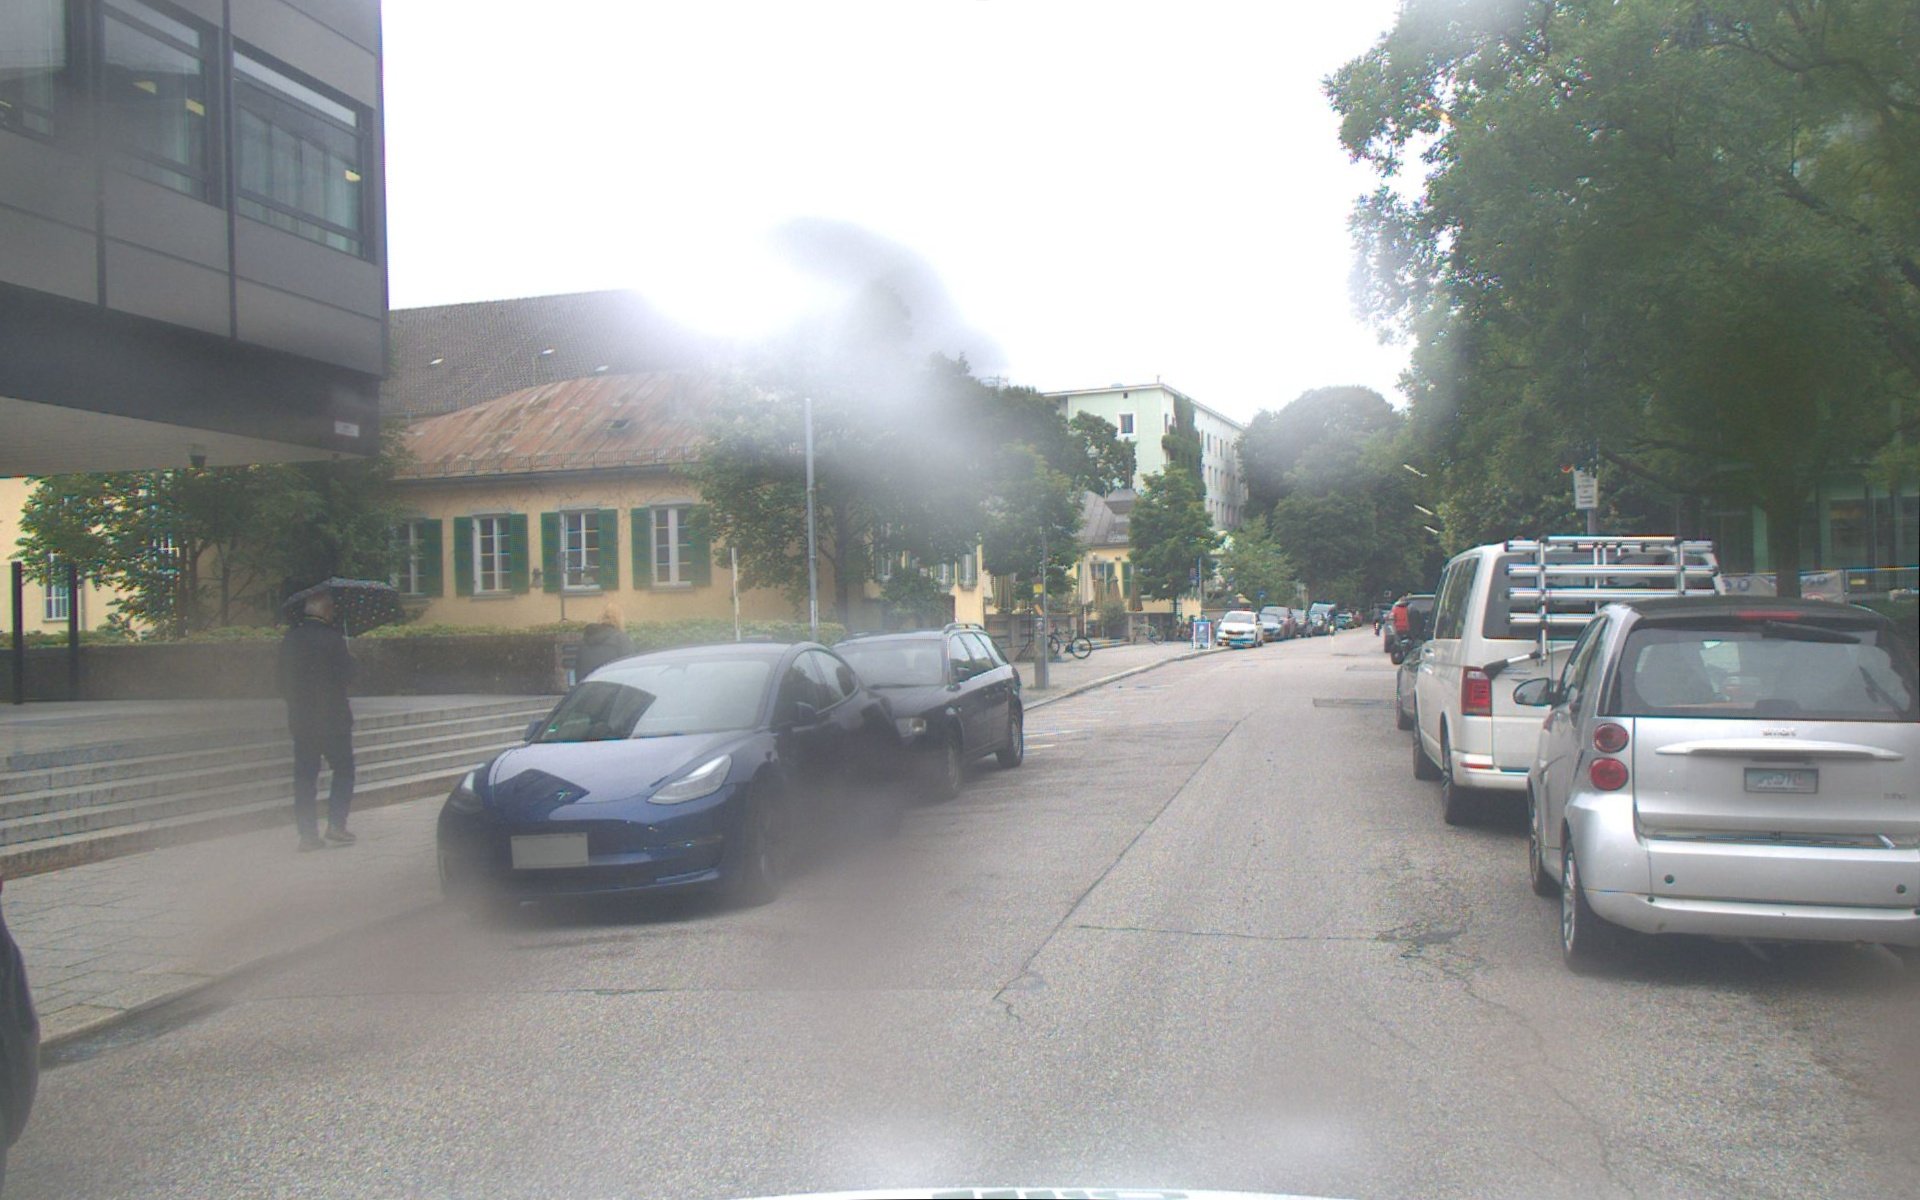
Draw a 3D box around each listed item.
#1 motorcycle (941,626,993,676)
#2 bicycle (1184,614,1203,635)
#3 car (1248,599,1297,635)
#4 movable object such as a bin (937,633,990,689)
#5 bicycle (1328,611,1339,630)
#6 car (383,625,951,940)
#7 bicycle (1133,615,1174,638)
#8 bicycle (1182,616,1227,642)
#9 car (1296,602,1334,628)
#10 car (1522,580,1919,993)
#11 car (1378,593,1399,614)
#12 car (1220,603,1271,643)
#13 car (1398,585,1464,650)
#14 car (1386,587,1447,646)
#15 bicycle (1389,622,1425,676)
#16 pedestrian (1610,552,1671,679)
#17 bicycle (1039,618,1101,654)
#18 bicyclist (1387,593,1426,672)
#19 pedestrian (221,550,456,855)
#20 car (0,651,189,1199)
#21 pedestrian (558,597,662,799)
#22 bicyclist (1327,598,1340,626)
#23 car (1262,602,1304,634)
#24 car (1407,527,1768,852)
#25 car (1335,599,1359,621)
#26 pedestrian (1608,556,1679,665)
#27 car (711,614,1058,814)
[{"bbox_3d":[0.151,1.187,39.104,0.549,1.120,1.825,0,0,-23],"label":"motorcycle"},{"bbox_3d":[11.670,1.216,82.633,0.608,1.022,1.619,-2,-2,19],"label":"bicycle"},{"bbox_3d":[15.642,0.828,82.567,1.951,1.677,4.658,-2,-1,16],"label":"car"},{"bbox_3d":[0.082,1.248,33.904,0.915,1.082,0.841,-2,0,11],"label":"movable object such as a bin"},{"bbox_3d":[21.934,1.191,97.134,0.608,1.022,2.142,-2,0,12],"label":"bicycle"},{"bbox_3d":[-1.524,0.970,10.740,1.882,1.464,4.922,-4,-1,11],"label":"car"},{"bbox_3d":[8.296,1.145,70.946,1.585,0.942,0.649,-1,-2,-11],"label":"bicycle"},{"bbox_3d":[9.829,1.160,66.361,2.123,1.022,0.613,0,1,-44],"label":"bicycle"},{"bbox_3d":[22.446,0.929,104.535,1.951,1.512,4.002,-2,0,17],"label":"car"},{"bbox_3d":[3.634,0.707,7.809,1.571,1.573,2.936,0,0,13],"label":"car"},{"bbox_3d":[44.156,0.381,170.376,1.951,2.135,4.003,1,0,15],"label":"car"},{"bbox_3d":[12.187,0.958,70.438,1.697,1.609,3.790,1,0,16],"label":"car"},{"bbox_3d":[14.320,0.510,50.442,1.723,1.855,4.142,-1,0,13],"label":"car"},{"bbox_3d":[15.252,0.517,55.184,1.823,1.825,4.512,-2,0,16],"label":"car"},{"bbox_3d":[8.834,0.960,32.650,0.608,1.022,2.141,-2,-2,16],"label":"bicycle"},{"bbox_3d":[11.958,0.268,29.103,0.726,2.172,1.057,-3,-1,12],"label":"pedestrian"},{"bbox_3d":[3.497,1.128,52.560,1.890,1.118,0.615,0,0,16],"label":"bicycle"},{"bbox_3d":[8.815,0.650,32.665,0.657,1.524,1.095,-2,-2,17],"label":"bicyclist"},{"bbox_3d":[-4.509,0.710,12.080,1.111,2.091,1.222,-1,0,12],"label":"pedestrian"},{"bbox_3d":[-3.493,0.947,2.671,1.703,1.486,4.240,-4,-1,14],"label":"car"},{"bbox_3d":[-3.213,0.879,15.250,0.738,1.780,0.952,-2,-1,-3],"label":"pedestrian"},{"bbox_3d":[21.932,0.709,97.128,0.727,1.603,0.978,-2,-1,12],"label":"bicyclist"},{"bbox_3d":[17.146,0.966,87.689,1.951,1.631,4.003,-2,-1,14],"label":"car"},{"bbox_3d":[4.570,0.538,12.832,1.805,1.967,5.277,1,0,12],"label":"car"},{"bbox_3d":[31.512,0.782,134.616,1.772,1.712,4.003,-2,0,15],"label":"car"},{"bbox_3d":[12.494,0.189,30.226,1.047,1.941,0.733,-2,-1,-42],"label":"pedestrian"},{"bbox_3d":[-0.505,0.967,15.911,1.951,1.517,4.887,-4,-1,14],"label":"car"}]
